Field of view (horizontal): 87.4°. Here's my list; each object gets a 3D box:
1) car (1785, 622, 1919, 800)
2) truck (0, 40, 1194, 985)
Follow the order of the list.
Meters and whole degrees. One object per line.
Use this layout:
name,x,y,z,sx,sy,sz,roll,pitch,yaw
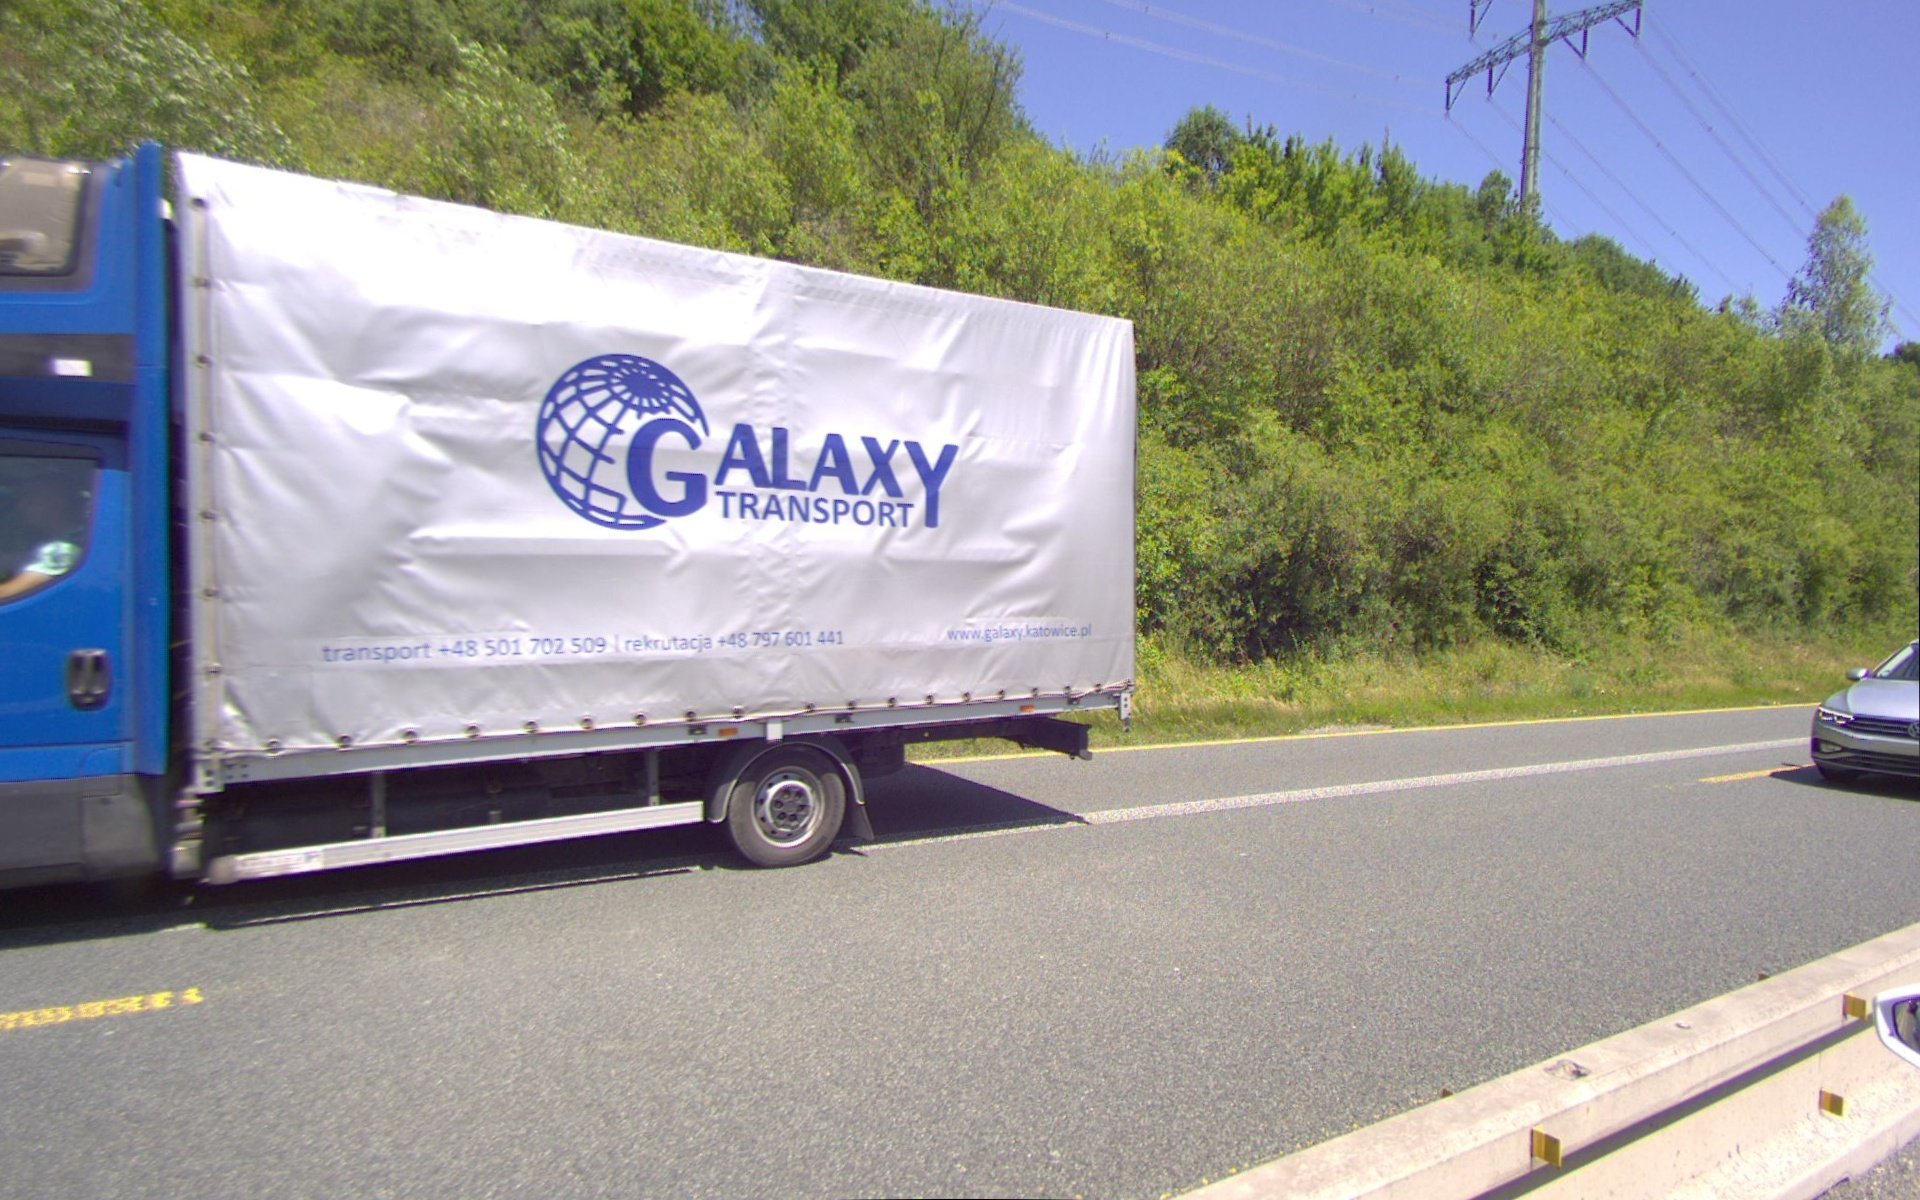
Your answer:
car,10.080,1.020,9.760,4.460,1.510,1.832,2,-1,-31
truck,-2.313,-0.283,5.641,7.411,3.375,2.394,1,0,-30
